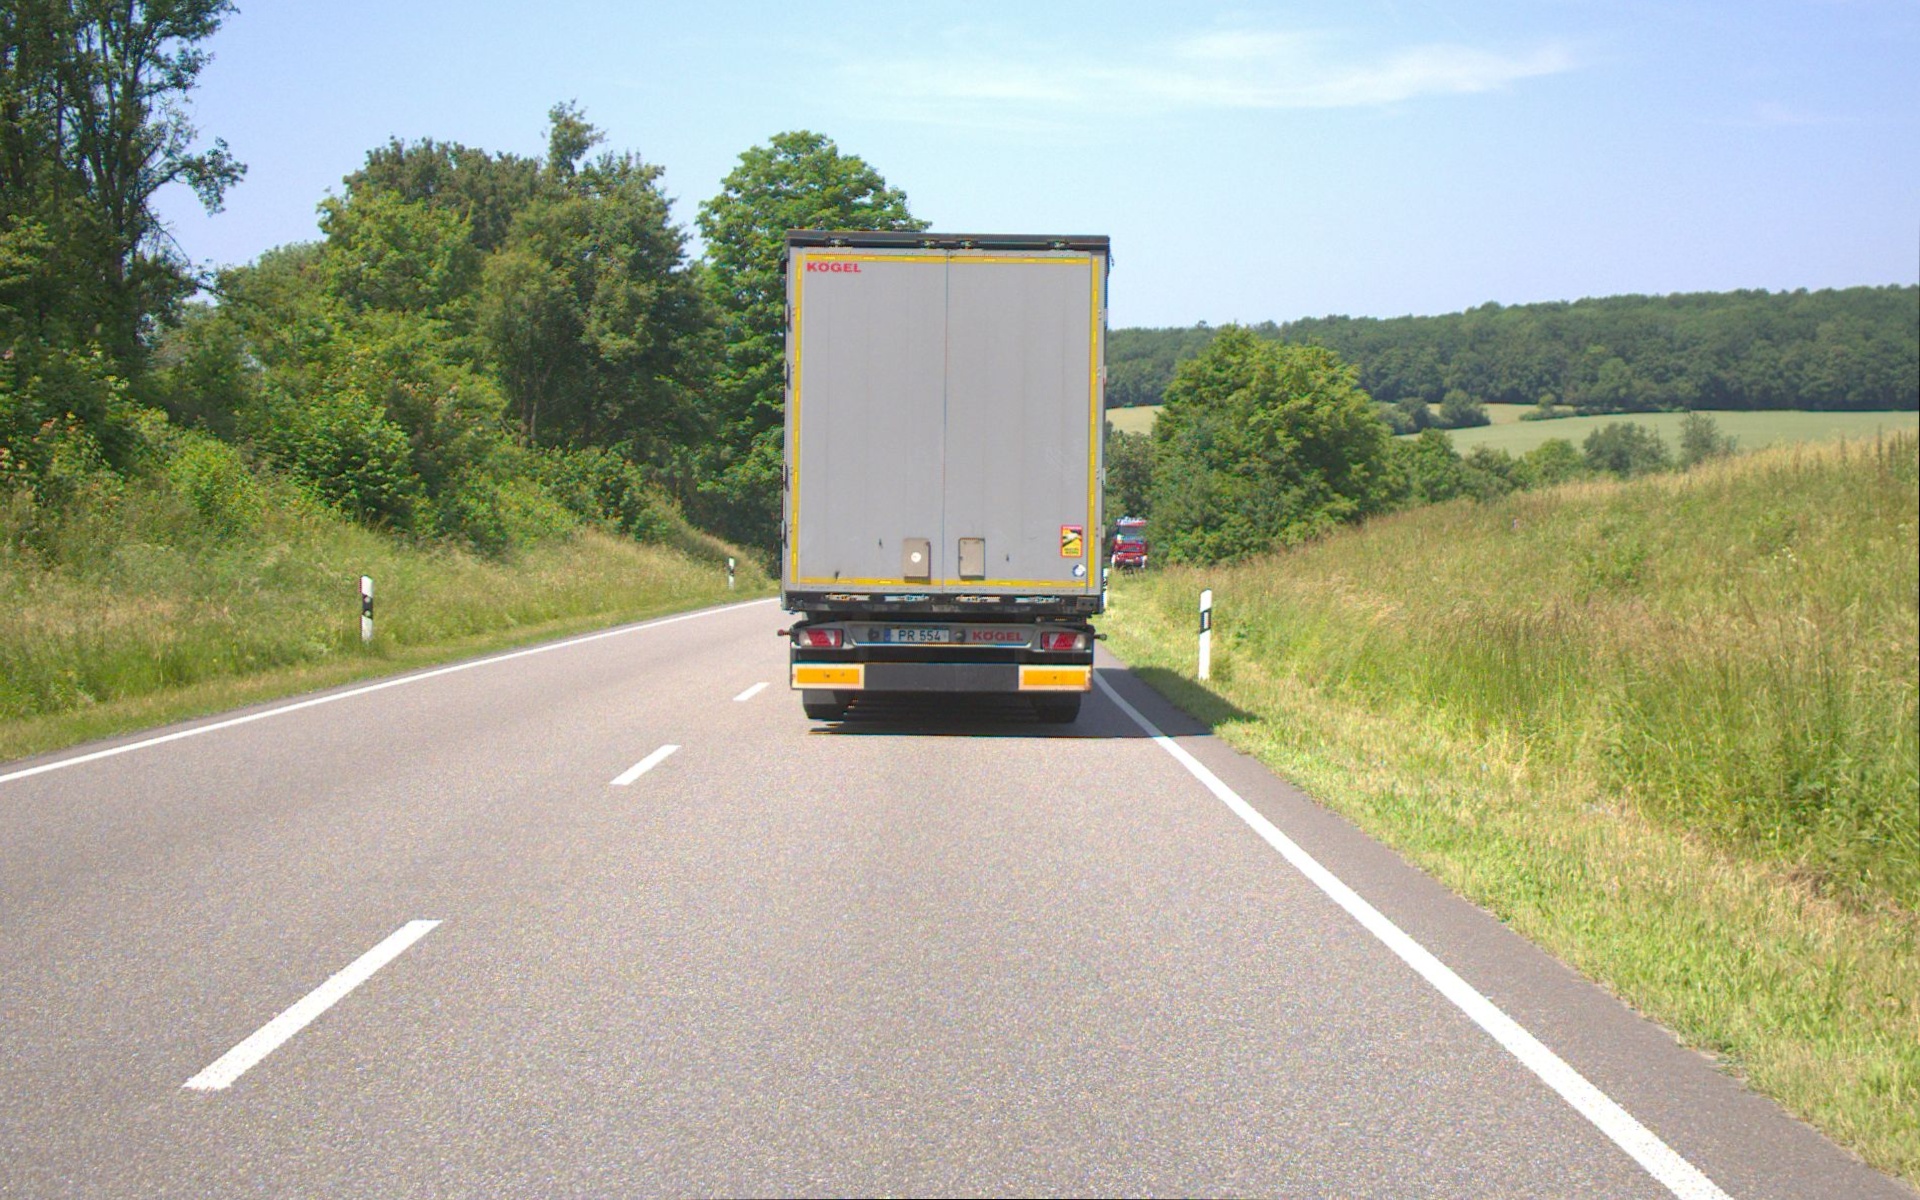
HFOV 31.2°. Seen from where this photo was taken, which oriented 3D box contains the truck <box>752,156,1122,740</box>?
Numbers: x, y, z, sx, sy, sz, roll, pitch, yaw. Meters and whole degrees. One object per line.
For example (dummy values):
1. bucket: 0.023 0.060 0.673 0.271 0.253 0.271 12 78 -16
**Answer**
1. truck: -0.279 -1.301 32.821 2.817 4.517 11.769 1 1 -1
